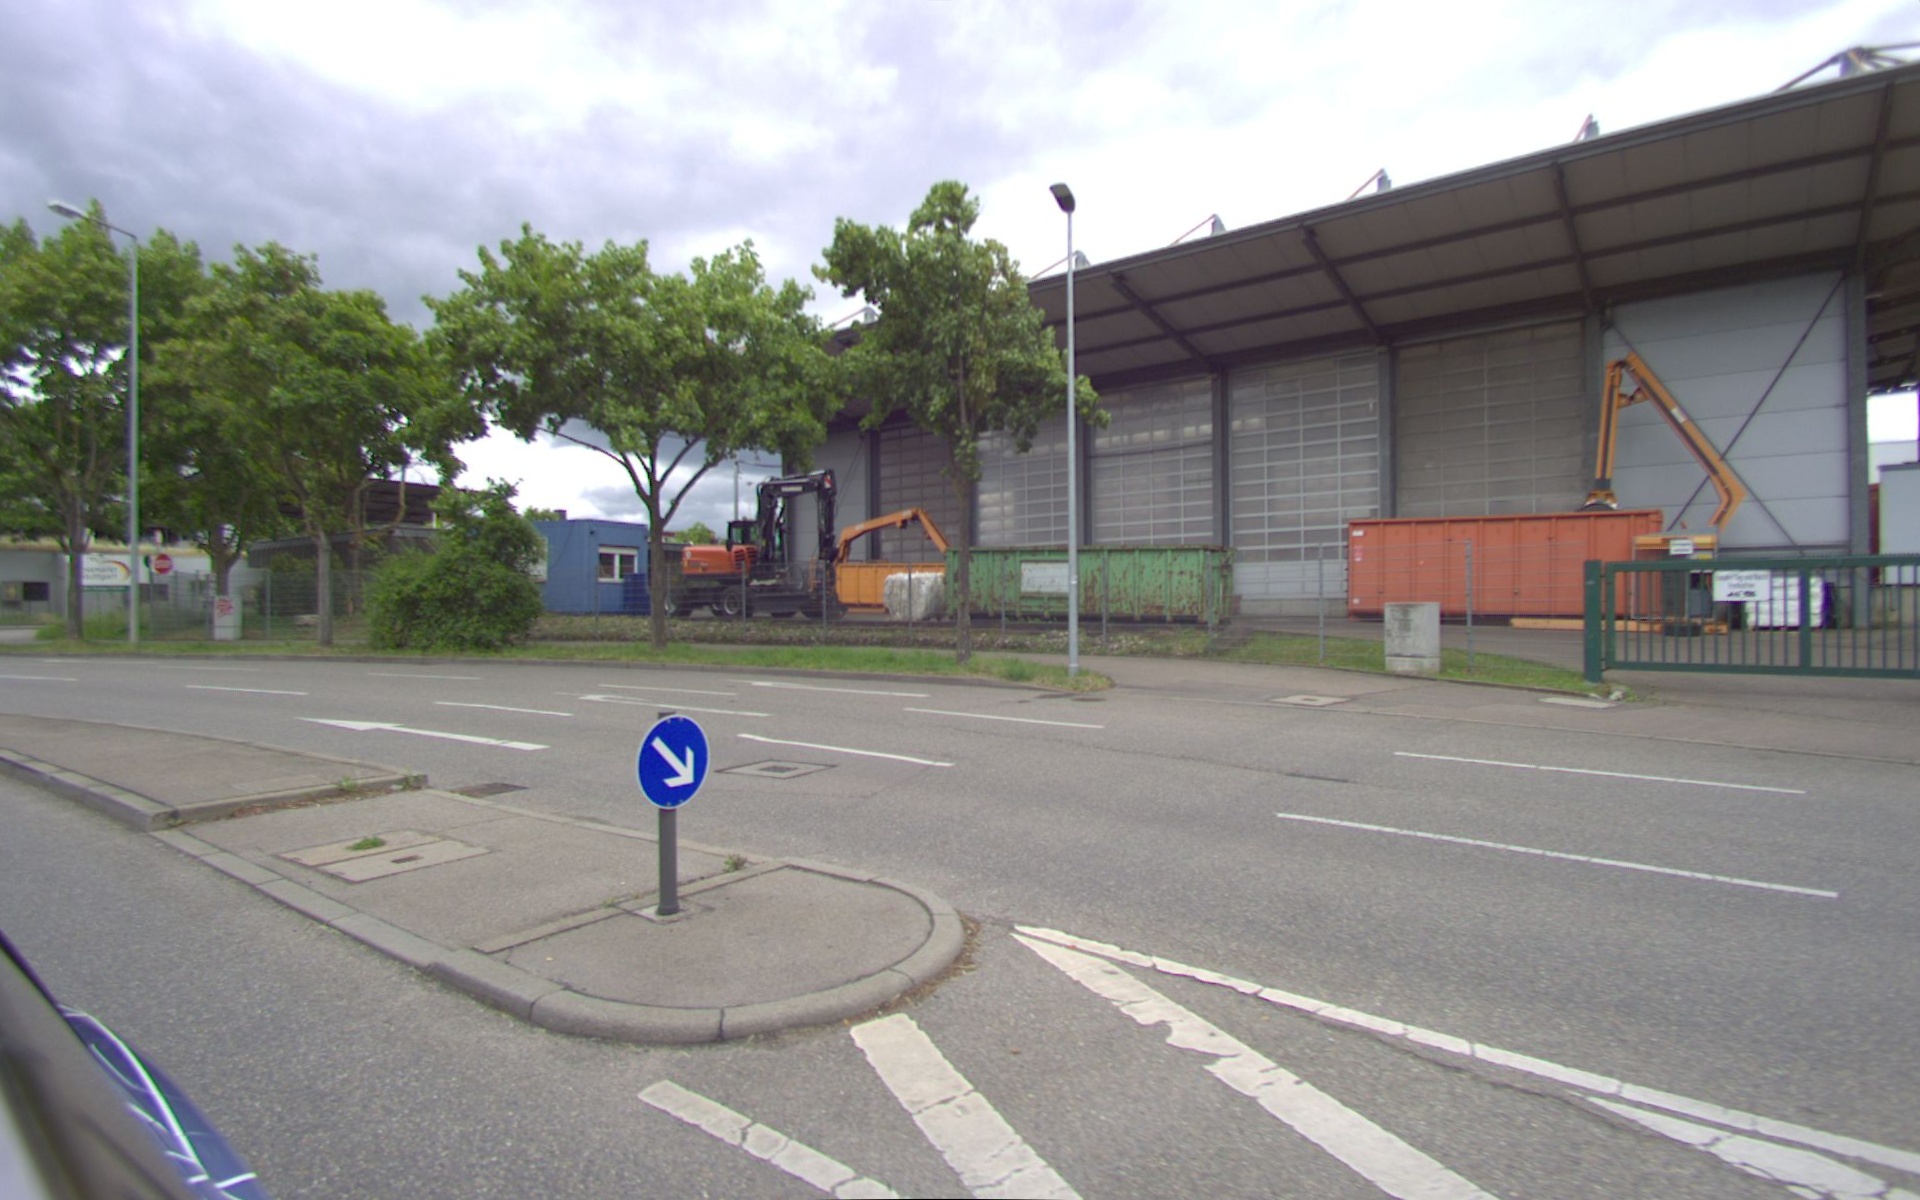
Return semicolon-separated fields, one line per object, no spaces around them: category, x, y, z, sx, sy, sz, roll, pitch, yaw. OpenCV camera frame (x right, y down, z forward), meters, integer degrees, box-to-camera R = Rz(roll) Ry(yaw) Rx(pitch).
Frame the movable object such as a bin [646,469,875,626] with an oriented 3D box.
movable object such as a bin;-5.953;-1.352;29.909;6.527;4.122;2.706;-2;-2;31
